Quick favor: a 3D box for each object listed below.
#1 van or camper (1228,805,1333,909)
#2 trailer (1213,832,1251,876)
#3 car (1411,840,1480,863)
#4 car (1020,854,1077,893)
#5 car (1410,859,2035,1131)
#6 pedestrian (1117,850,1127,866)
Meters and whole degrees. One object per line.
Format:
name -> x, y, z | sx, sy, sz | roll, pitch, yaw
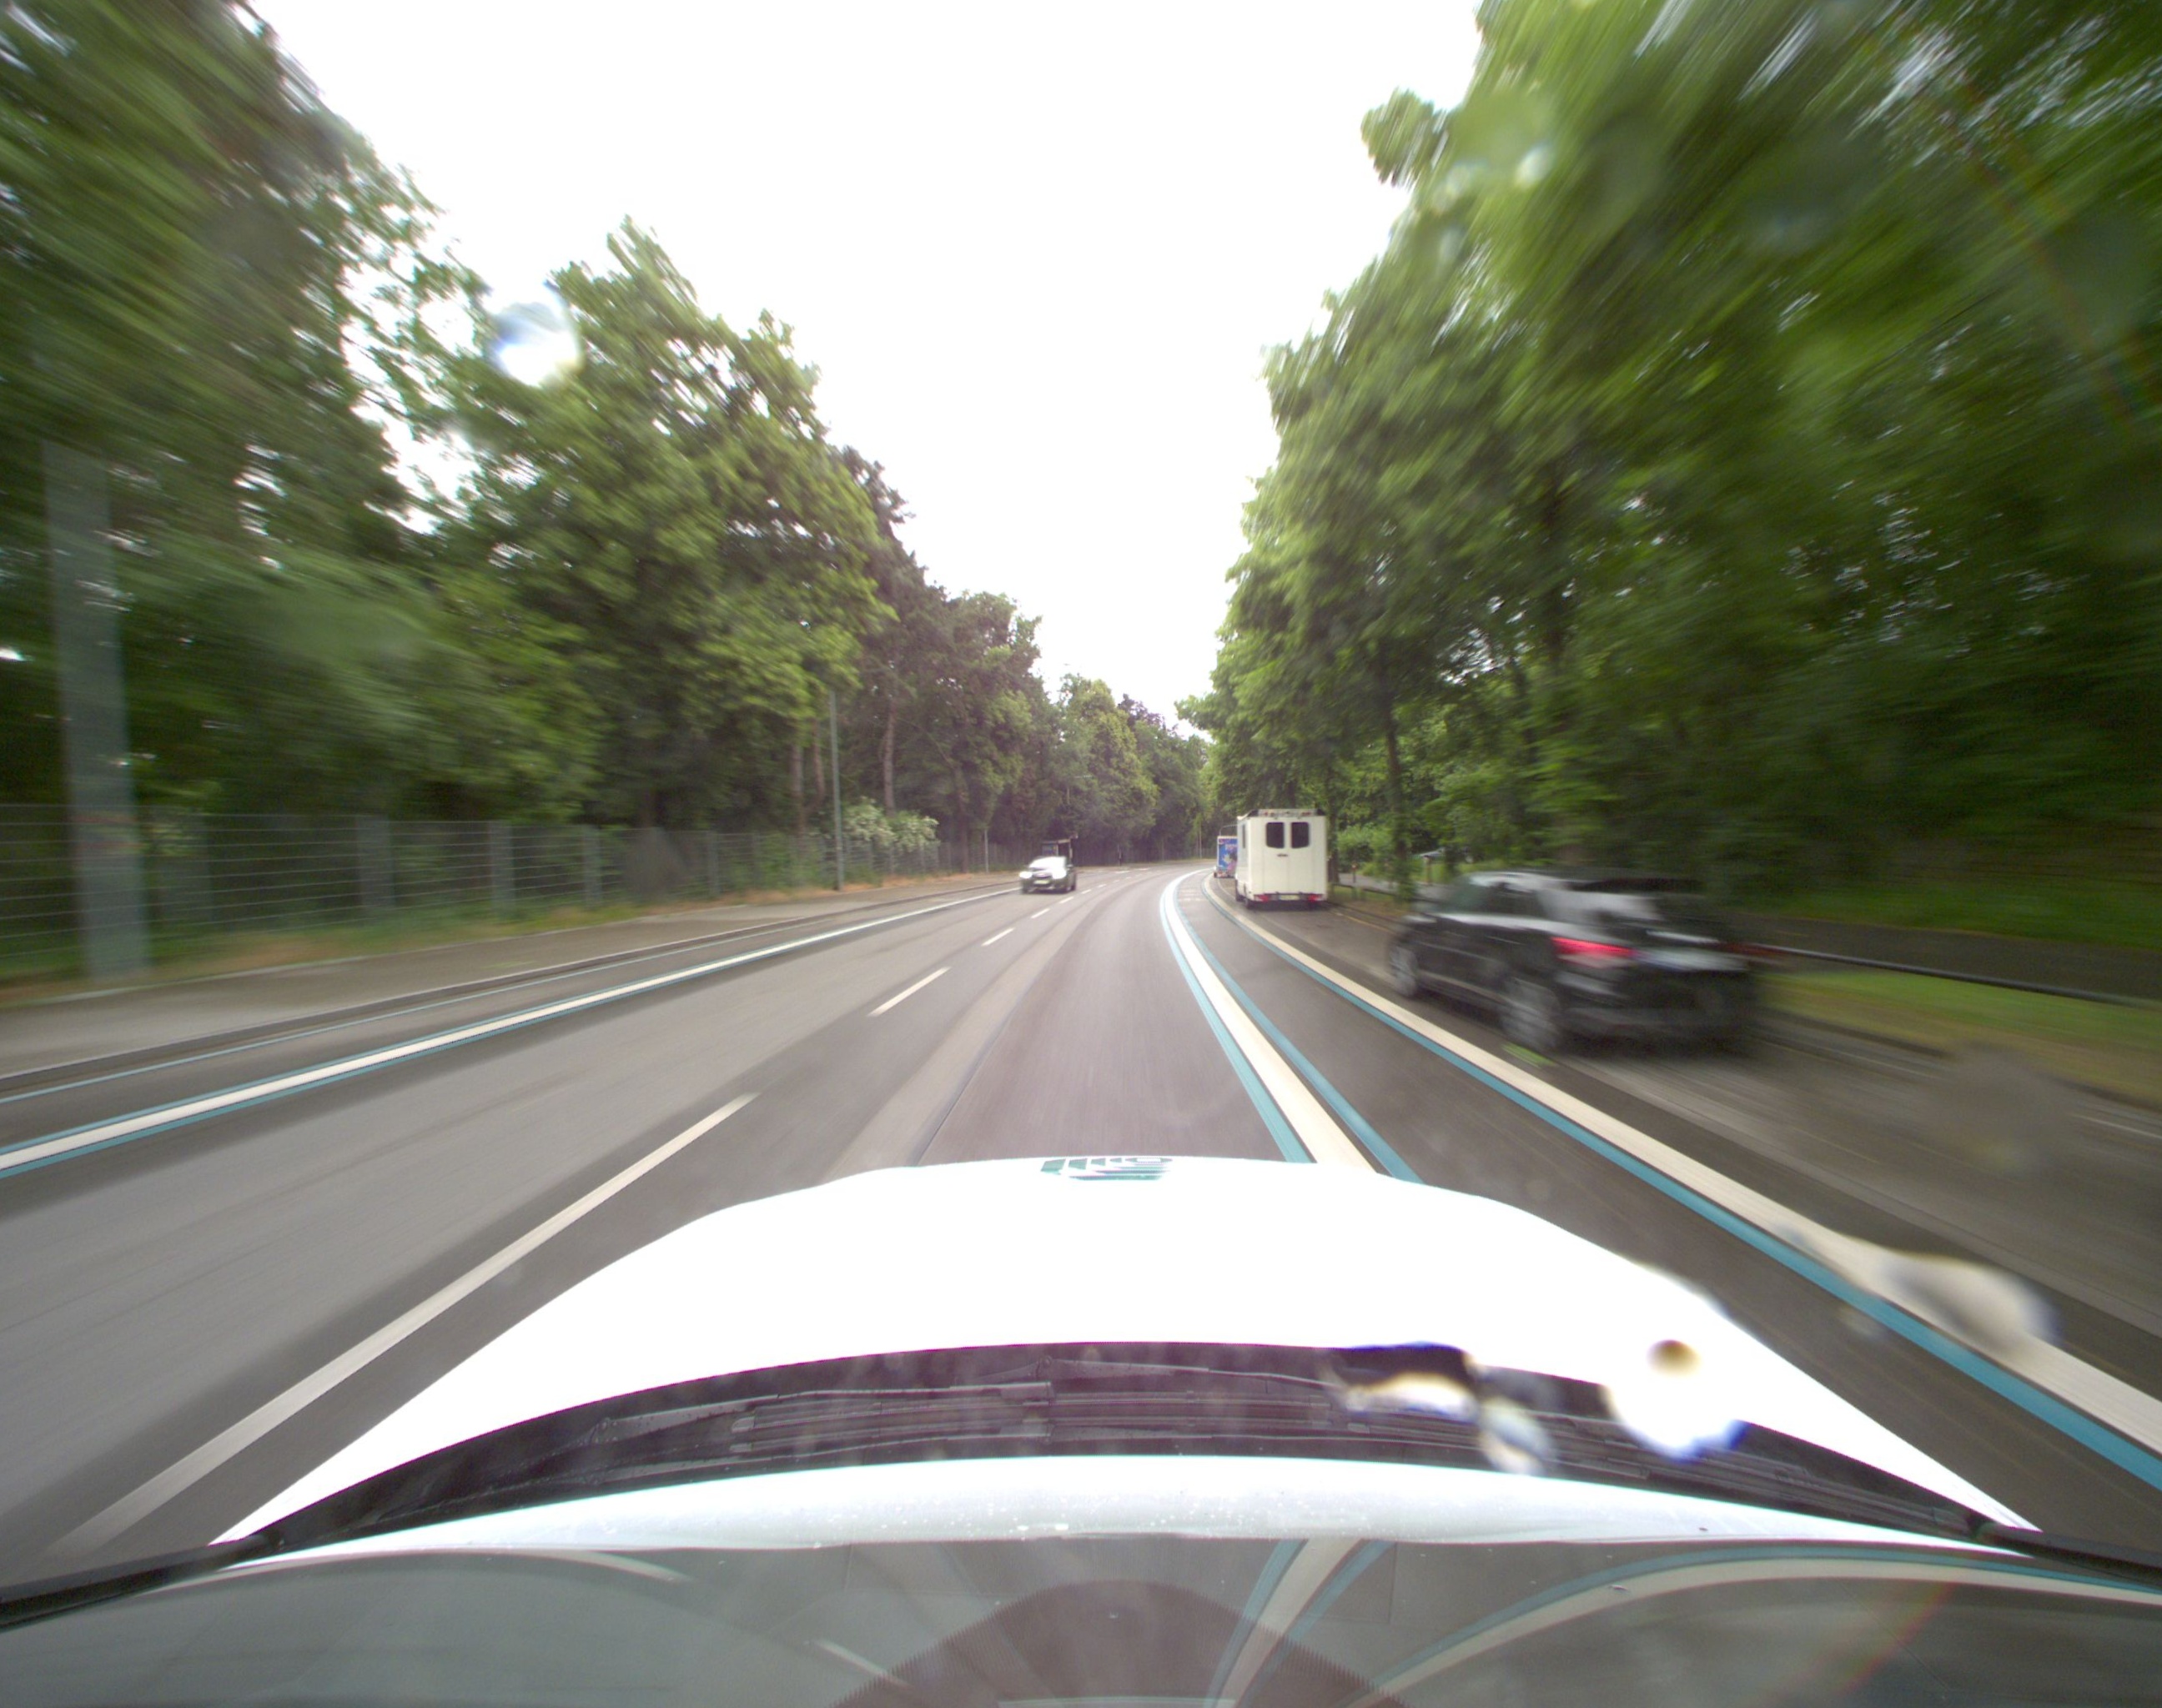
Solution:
van or camper -> 5.742, 0.073, 24.306 | 2.304, 2.664, 6.395 | 0, 0, 7
trailer -> 9.807, -0.009, 53.134 | 2.302, 2.672, 5.391 | 0, 0, 10
car -> 24.743, -0.179, 55.445 | 4.101, 1.322, 1.900 | -3, -1, 21
car -> -1.239, 0.757, 33.280 | 1.751, 1.437, 4.157 | -1, 0, 5
car -> 4.111, 0.753, 6.203 | 1.672, 1.376, 4.001 | -1, -1, 2
pedestrian -> 4.460, 0.405, 88.175 | 0.881, 1.733, 1.149 | 0, 0, 10
